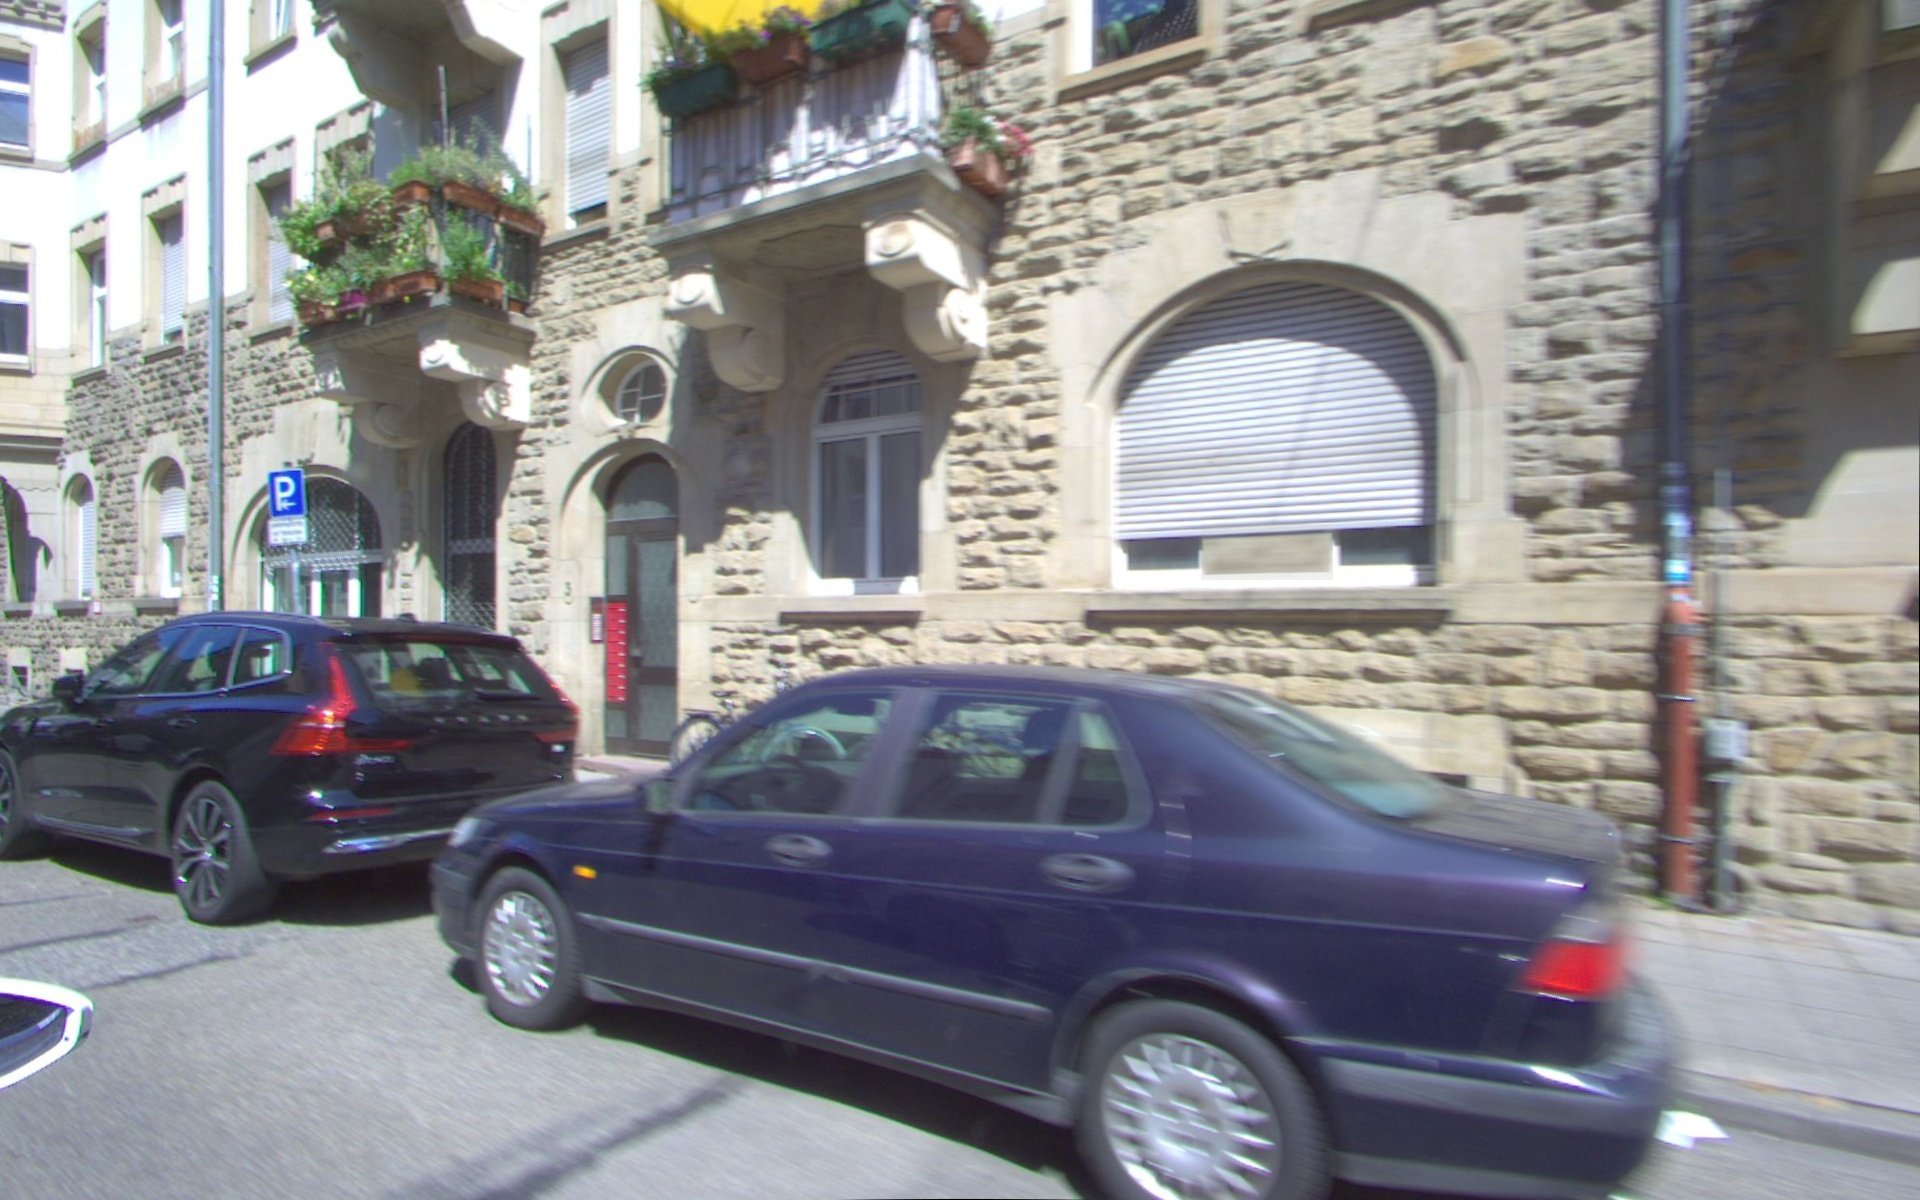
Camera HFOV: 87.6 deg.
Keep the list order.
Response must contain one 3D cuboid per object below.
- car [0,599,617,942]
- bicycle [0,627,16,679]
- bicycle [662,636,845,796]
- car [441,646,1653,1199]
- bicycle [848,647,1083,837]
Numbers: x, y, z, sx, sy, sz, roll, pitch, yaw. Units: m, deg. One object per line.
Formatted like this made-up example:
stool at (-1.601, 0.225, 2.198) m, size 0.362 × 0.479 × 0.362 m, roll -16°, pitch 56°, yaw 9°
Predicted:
car at (-4.569, 0.861, 6.599) m, size 4.536 × 1.586 × 1.832 m, roll -1°, pitch -3°, yaw 30°
bicycle at (-22.187, 1.205, 22.600) m, size 0.785 × 1.184 × 2.563 m, roll 0°, pitch -1°, yaw -32°
bicycle at (-1.771, 0.929, 8.440) m, size 1.750 × 1.223 × 0.383 m, roll -1°, pitch 0°, yaw 33°
car at (0.056, 0.941, 3.644) m, size 3.912 × 1.415 × 1.512 m, roll 0°, pitch -5°, yaw 30°
bicycle at (0.004, 0.972, 7.284) m, size 1.750 × 1.223 × 0.440 m, roll -1°, pitch 0°, yaw 33°
